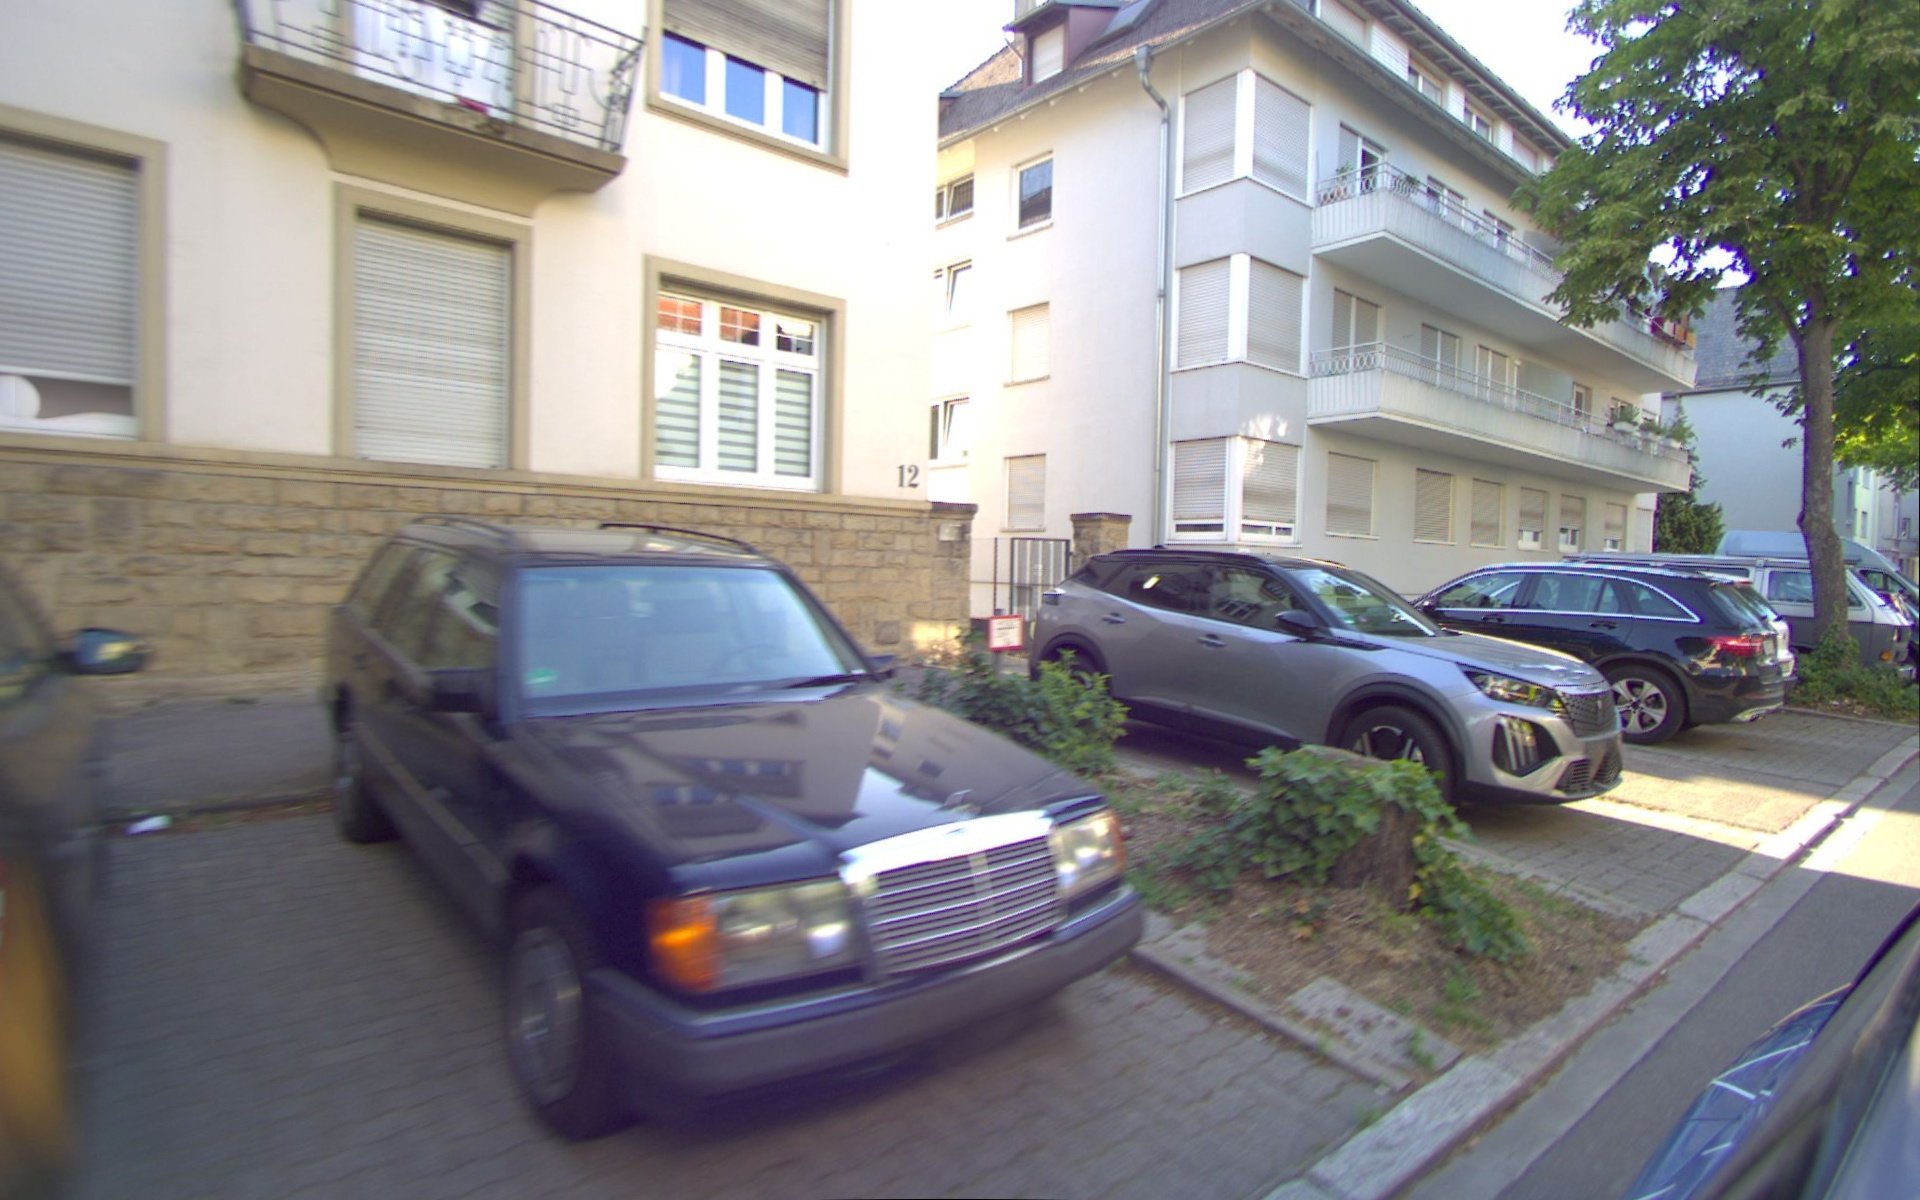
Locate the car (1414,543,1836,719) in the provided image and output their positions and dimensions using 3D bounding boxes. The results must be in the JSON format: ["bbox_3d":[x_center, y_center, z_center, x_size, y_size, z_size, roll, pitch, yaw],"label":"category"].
[{"bbox_3d":[7.992,0.239,12.513,1.674,1.703,3.963,1,4,-37],"label":"car"}]

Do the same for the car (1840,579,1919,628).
[{"bbox_3d":[33.061,0.171,34.589,1.729,1.559,4.308,0,3,-43],"label":"car"}]

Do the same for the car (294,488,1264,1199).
[{"bbox_3d":[-1.354,0.385,4.189,1.818,1.553,4.731,0,5,-40],"label":"car"}]

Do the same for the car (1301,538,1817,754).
[{"bbox_3d":[6.086,0.297,10.734,1.677,1.703,4.339,0,4,-43],"label":"car"}]

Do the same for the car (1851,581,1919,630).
[{"bbox_3d":[31.130,0.229,32.560,1.728,1.444,3.411,0,4,-40],"label":"car"}]

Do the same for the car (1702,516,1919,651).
[{"bbox_3d":[20.896,-0.437,23.826,2.041,2.937,5.104,0,4,-43],"label":"car"}]

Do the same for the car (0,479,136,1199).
[{"bbox_3d":[-3.024,0.455,2.228,1.817,1.509,3.999,0,5,-39],"label":"car"}]

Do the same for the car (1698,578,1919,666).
[{"bbox_3d":[17.183,0.364,20.127,1.729,1.447,3.728,-2,5,-41],"label":"car"}]

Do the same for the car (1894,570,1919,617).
[{"bbox_3d":[42.914,-0.173,42.731,1.915,1.960,4.820,0,3,-39],"label":"car"}]

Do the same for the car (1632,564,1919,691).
[{"bbox_3d":[13.501,0.354,16.325,4.175,1.744,1.739,4,4,43],"label":"car"}]

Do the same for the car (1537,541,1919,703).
[{"bbox_3d":[11.450,0.174,15.167,1.864,2.038,4.477,0,3,-42],"label":"car"}]

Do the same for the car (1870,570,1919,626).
[{"bbox_3d":[35.382,-0.012,35.998,1.729,1.907,4.307,-1,4,-43],"label":"car"}]

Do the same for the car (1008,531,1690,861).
[{"bbox_3d":[2.463,0.378,7.290,1.819,1.557,4.166,0,5,-41],"label":"car"}]

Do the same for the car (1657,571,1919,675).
[{"bbox_3d":[15.221,0.321,18.510,1.610,1.573,3.731,-1,4,-39],"label":"car"}]
